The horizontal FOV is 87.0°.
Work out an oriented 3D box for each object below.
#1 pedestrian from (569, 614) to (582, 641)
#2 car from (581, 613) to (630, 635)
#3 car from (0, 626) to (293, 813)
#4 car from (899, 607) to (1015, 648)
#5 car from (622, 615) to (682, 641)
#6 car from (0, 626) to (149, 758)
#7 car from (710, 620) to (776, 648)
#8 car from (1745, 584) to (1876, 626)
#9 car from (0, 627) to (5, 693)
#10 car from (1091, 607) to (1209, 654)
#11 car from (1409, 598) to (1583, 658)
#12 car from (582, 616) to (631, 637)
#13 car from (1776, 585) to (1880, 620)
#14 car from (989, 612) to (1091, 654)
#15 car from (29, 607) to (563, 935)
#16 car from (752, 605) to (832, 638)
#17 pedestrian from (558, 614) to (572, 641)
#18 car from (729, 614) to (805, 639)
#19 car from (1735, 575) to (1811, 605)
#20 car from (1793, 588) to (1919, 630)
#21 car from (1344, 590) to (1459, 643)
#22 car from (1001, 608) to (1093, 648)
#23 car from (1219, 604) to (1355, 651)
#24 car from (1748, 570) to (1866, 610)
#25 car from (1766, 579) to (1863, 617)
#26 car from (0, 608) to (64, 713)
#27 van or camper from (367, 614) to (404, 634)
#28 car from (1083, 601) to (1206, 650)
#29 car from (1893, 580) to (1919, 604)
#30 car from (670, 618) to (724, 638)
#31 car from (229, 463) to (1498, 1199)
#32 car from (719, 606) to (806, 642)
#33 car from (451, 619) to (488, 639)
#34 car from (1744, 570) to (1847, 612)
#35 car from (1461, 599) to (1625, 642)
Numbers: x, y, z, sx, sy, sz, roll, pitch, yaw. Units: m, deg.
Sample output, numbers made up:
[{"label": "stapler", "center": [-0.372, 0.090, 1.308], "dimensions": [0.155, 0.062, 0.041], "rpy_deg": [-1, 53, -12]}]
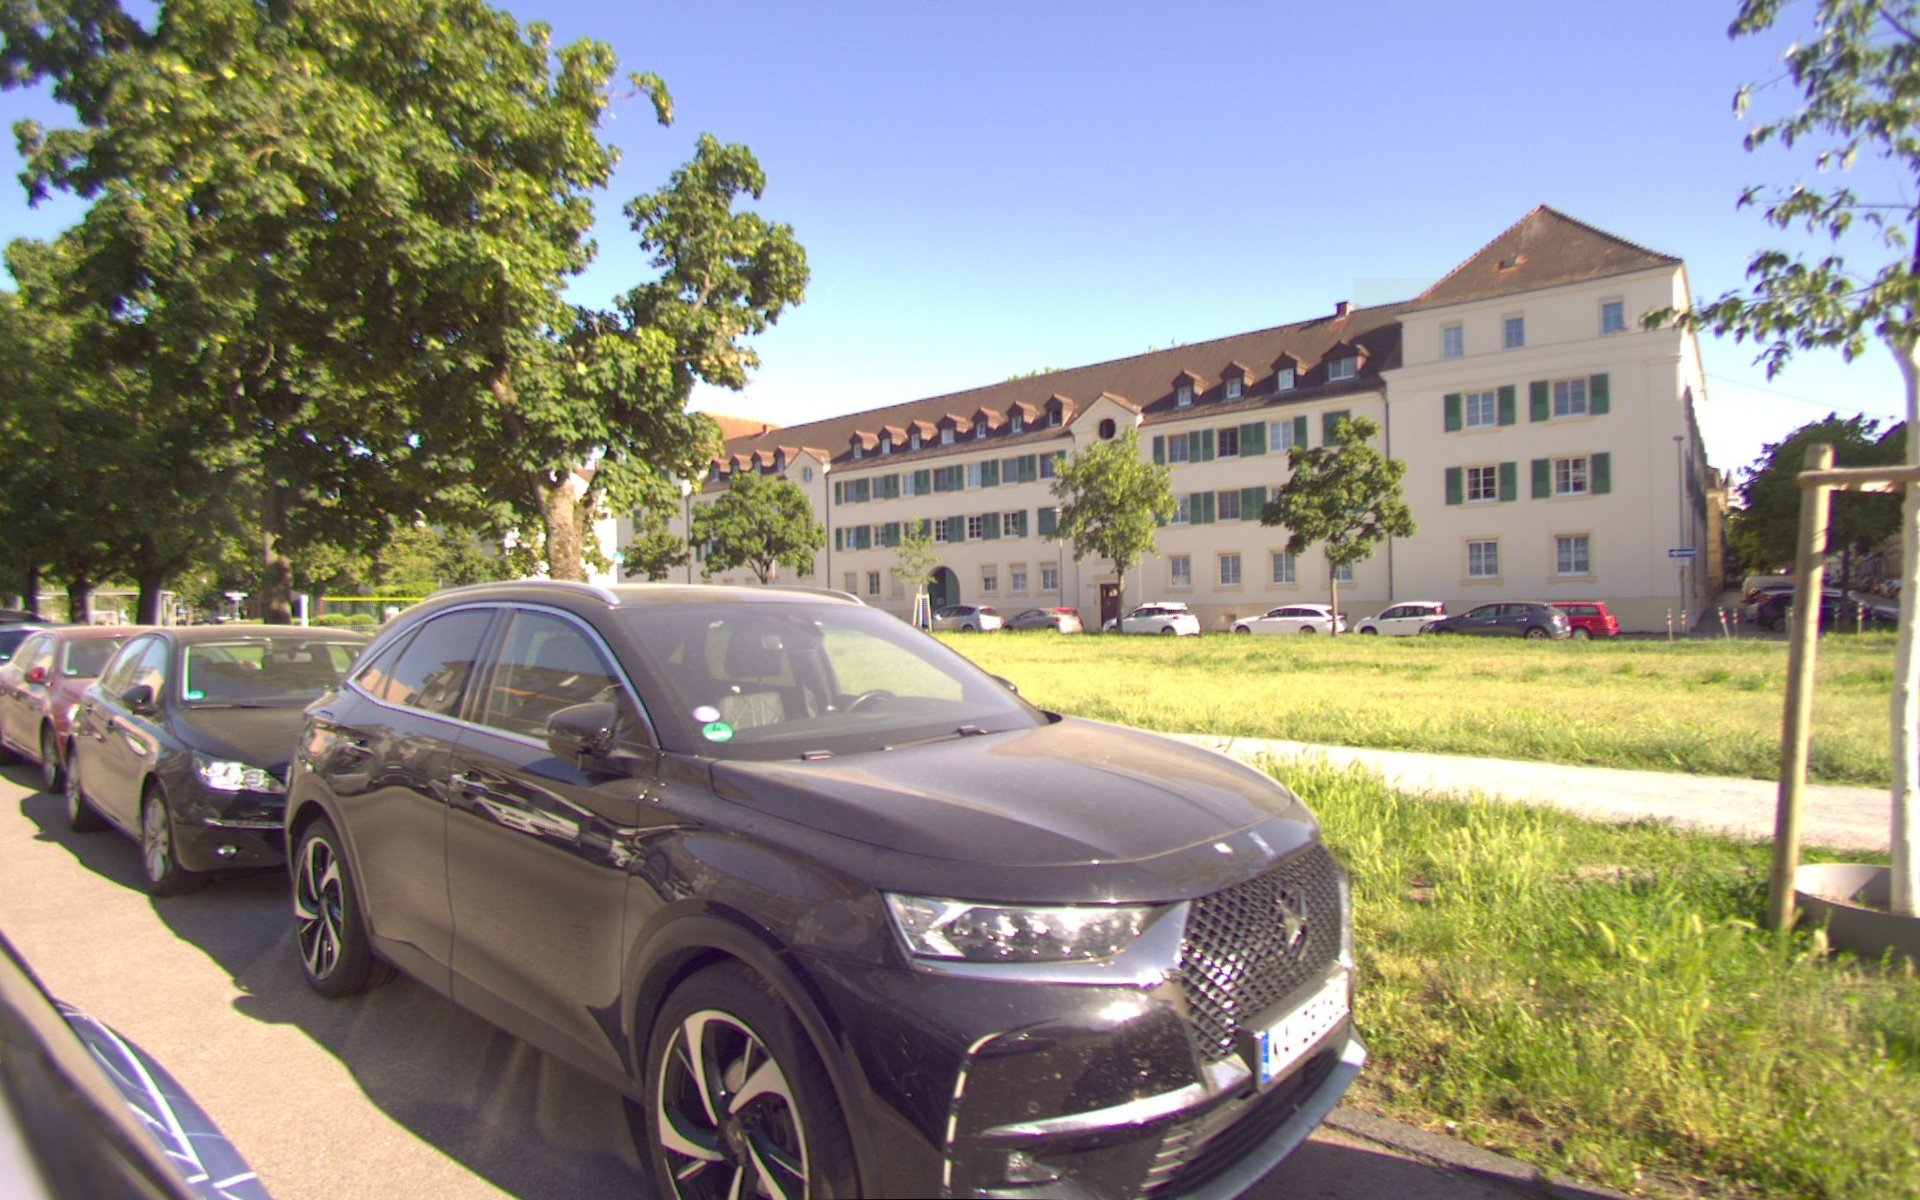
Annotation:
[{"label": "pedestrian", "center": [-24.124, 1.709, 63.526], "dimensions": [0.537, 1.698, 0.674], "rpy_deg": [0, -1, -44]}, {"label": "car", "center": [-33.042, 2.239, 94.434], "dimensions": [2.043, 1.970, 3.762], "rpy_deg": [-2, -1, 43]}, {"label": "car", "center": [-8.604, 1.030, 10.326], "dimensions": [4.664, 1.503, 1.737], "rpy_deg": [-2, -2, 40]}, {"label": "car", "center": [-0.208, 1.328, 49.059], "dimensions": [5.453, 1.834, 2.424], "rpy_deg": [-2, -1, 43]}, {"label": "car", "center": [-20.210, 1.817, 66.306], "dimensions": [4.233, 1.595, 1.770], "rpy_deg": [-2, -1, 41]}, {"label": "car", "center": [-12.011, 1.108, 13.176], "dimensions": [3.682, 1.504, 1.570], "rpy_deg": [-2, -2, 40]}, {"label": "car", "center": [-14.819, 2.313, 68.995], "dimensions": [4.640, 1.777, 1.974], "rpy_deg": [-2, -1, 39]}, {"label": "car", "center": [36.572, 0.244, 43.662], "dimensions": [4.237, 1.714, 1.684], "rpy_deg": [-2, -1, 39]}, {"label": "car", "center": [-23.078, 1.368, 23.136], "dimensions": [4.087, 1.439, 1.521], "rpy_deg": [-2, -1, 42]}, {"label": "car", "center": [7.854, 1.250, 41.963], "dimensions": [4.253, 1.834, 2.214], "rpy_deg": [-2, -1, 39]}, {"label": "car", "center": [17.597, 0.917, 33.328], "dimensions": [4.701, 1.834, 2.136], "rpy_deg": [-2, -1, 40]}, {"label": "car", "center": [-24.340, 1.822, 69.704], "dimensions": [3.512, 1.343, 1.633], "rpy_deg": [-2, -1, 40]}, {"label": "car", "center": [41.255, 0.133, 48.211], "dimensions": [3.610, 1.532, 1.837], "rpy_deg": [-2, -1, 37]}, {"label": "car", "center": [3.588, 1.487, 45.709], "dimensions": [4.009, 1.763, 2.292], "rpy_deg": [-2, -1, 43]}, {"label": "car", "center": [-4.725, 0.872, 6.916], "dimensions": [4.467, 1.531, 1.854], "rpy_deg": [-2, -3, 40]}, {"label": "car", "center": [-10.901, 1.395, 65.549], "dimensions": [5.252, 1.999, 2.198], "rpy_deg": [-2, -1, 39]}, {"label": "pedestrian", "center": [-24.593, 1.708, 62.991], "dimensions": [0.750, 1.698, 0.537], "rpy_deg": [-2, -1, 43]}, {"label": "car", "center": [-12.041, 1.672, 62.987], "dimensions": [4.955, 1.496, 1.973], "rpy_deg": [-2, -1, 41]}, {"label": "car", "center": [69.582, -0.846, 86.767], "dimensions": [4.948, 2.413, 1.932], "rpy_deg": [-2, -1, 38]}, {"label": "car", "center": [34.404, 0.362, 38.879], "dimensions": [3.665, 1.533, 1.690], "rpy_deg": [-2, -1, 40]}, {"label": "car", "center": [17.667, 0.649, 40.566], "dimensions": [3.895, 2.029, 1.648], "rpy_deg": [-1, -1, 41]}, {"label": "car", "center": [4.480, 1.428, 52.248], "dimensions": [4.164, 1.919, 2.241], "rpy_deg": [-2, -1, 40]}, {"label": "car", "center": [14.094, 1.183, 43.770], "dimensions": [5.156, 1.900, 2.131], "rpy_deg": [-2, -1, 41]}, {"label": "car", "center": [35.076, -0.411, 42.028], "dimensions": [3.610, 1.532, 1.687], "rpy_deg": [-2, -1, 37]}, {"label": "car", "center": [44.129, -0.072, 52.378], "dimensions": [3.707, 1.848, 1.932], "rpy_deg": [-2, -1, 37]}, {"label": "car", "center": [-18.523, 1.075, 19.108], "dimensions": [4.989, 1.798, 1.845], "rpy_deg": [-1, 0, 42]}, {"label": "van or camper", "center": [-63.288, 2.630, 111.437], "dimensions": [4.373, 2.029, 2.244], "rpy_deg": [-1, 0, 42]}, {"label": "car", "center": [8.819, 1.216, 48.638], "dimensions": [5.253, 2.233, 2.505], "rpy_deg": [-2, -1, 40]}, {"label": "car", "center": [72.283, -0.609, 76.831], "dimensions": [1.955, 1.721, 4.108], "rpy_deg": [-2, -1, 40]}, {"label": "car", "center": [-18.859, 2.001, 72.429], "dimensions": [3.998, 1.366, 1.750], "rpy_deg": [-2, -1, 41]}, {"label": "car", "center": [-0.907, 0.689, 3.648], "dimensions": [4.737, 1.622, 1.800], "rpy_deg": [-2, -2, 42]}, {"label": "car", "center": [-11.563, 1.389, 59.091], "dimensions": [5.255, 1.999, 2.197], "rpy_deg": [-2, -1, 41]}, {"label": "car", "center": [-47.034, 2.807, 97.017], "dimensions": [4.000, 1.807, 1.929], "rpy_deg": [-2, -1, 43]}, {"label": "car", "center": [53.411, -0.534, 64.840], "dimensions": [4.948, 2.538, 1.932], "rpy_deg": [-2, -1, 38]}, {"label": "car", "center": [21.372, 0.754, 37.241], "dimensions": [4.955, 1.496, 1.973], "rpy_deg": [-2, -1, 41]}]
